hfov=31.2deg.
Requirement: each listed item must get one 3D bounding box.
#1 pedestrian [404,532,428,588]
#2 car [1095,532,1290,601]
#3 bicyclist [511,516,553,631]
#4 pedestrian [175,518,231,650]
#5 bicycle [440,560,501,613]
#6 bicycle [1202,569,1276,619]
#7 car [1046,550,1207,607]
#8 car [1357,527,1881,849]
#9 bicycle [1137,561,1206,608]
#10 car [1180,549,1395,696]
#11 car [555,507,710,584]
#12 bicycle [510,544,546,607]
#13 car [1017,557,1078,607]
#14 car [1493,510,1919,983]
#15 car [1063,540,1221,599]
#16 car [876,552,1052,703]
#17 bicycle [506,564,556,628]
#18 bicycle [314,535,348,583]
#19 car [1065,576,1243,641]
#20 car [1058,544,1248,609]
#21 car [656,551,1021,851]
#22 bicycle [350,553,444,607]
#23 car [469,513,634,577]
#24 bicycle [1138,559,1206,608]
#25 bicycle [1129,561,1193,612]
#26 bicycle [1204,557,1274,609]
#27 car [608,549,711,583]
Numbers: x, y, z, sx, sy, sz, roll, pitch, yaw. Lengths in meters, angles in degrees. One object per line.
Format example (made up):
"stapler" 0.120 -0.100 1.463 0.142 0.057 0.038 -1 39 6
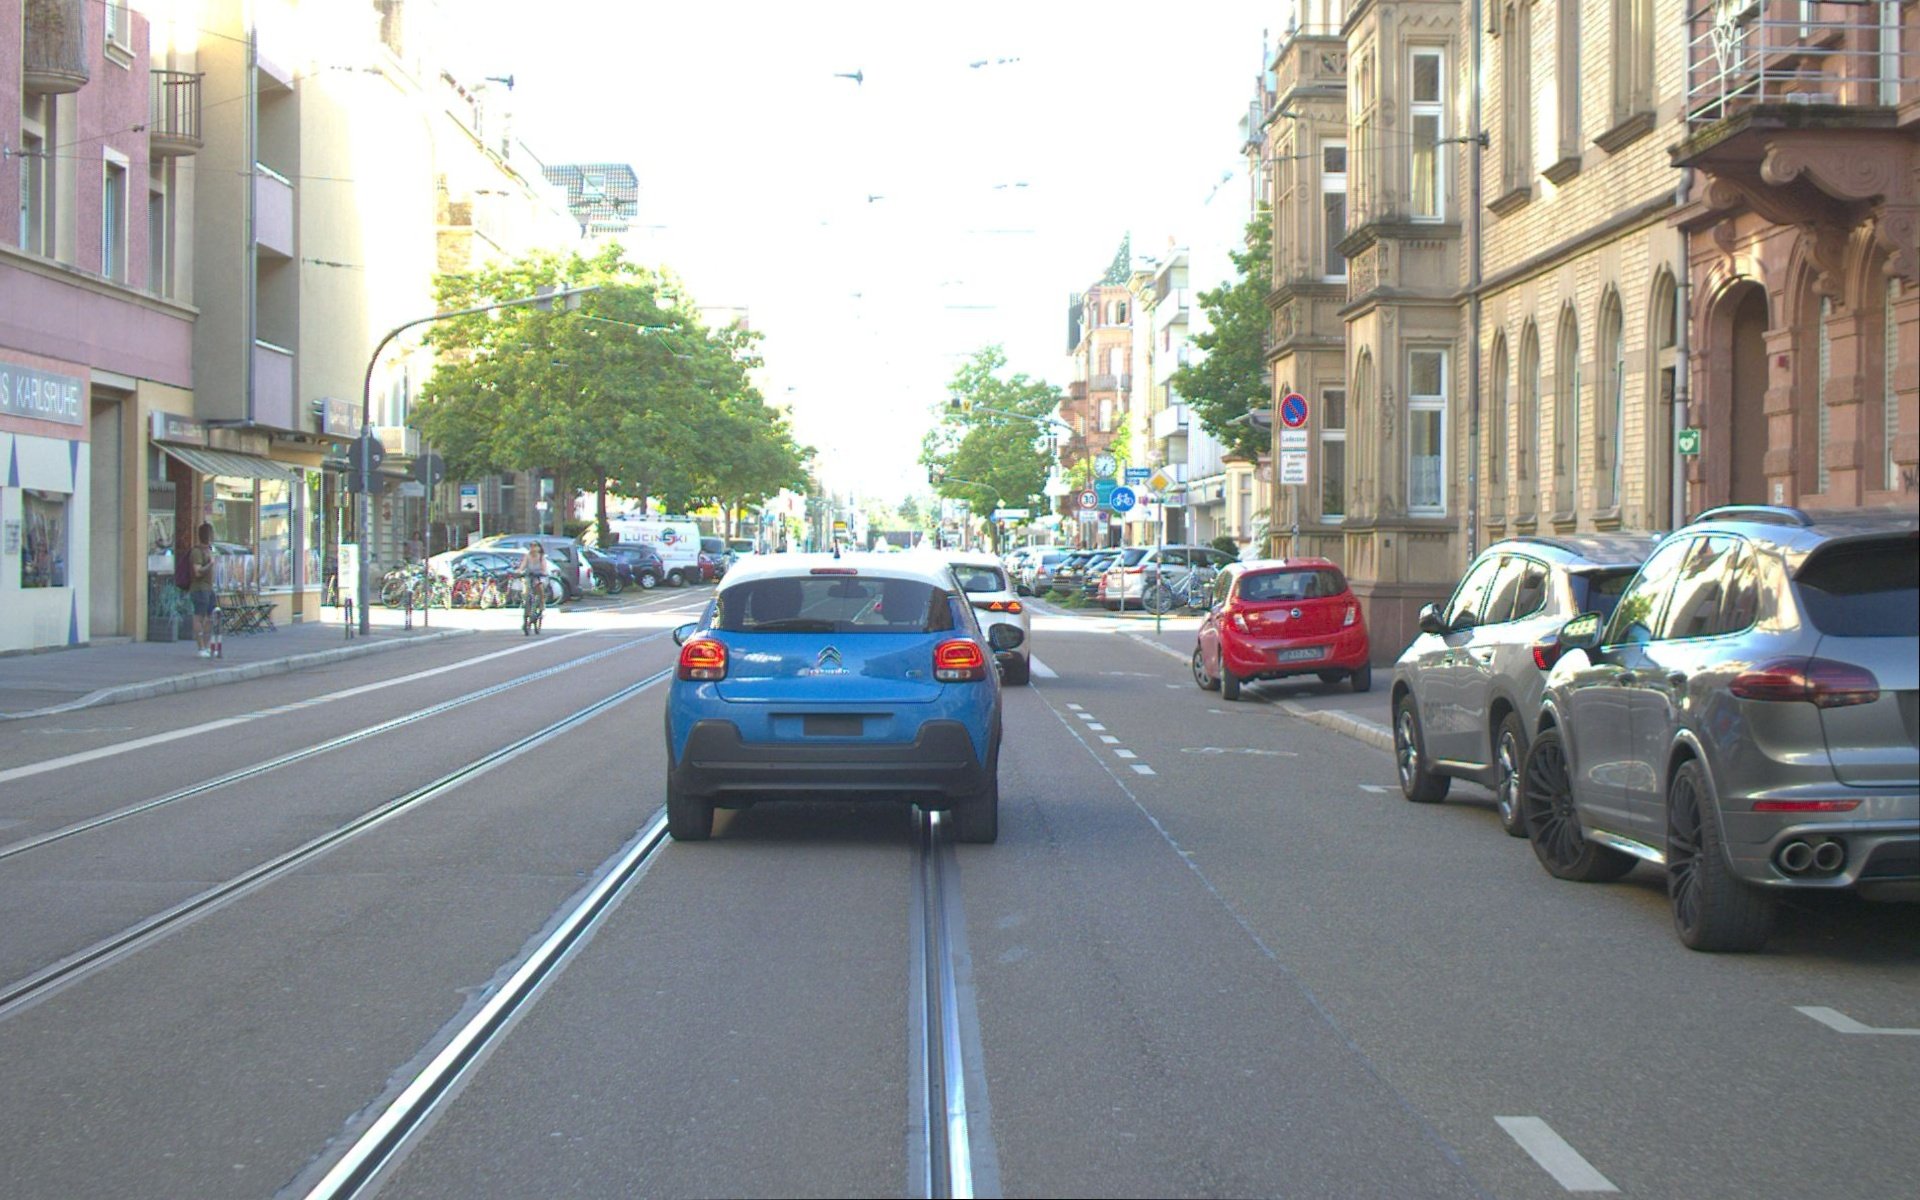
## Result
"pedestrian" -16.172 -1.182 102.160 0.569 1.647 0.641 1 0 0
"car" 5.673 -0.820 83.854 4.350 1.590 1.854 1 0 -25
"bicyclist" -7.561 -0.477 60.736 0.612 2.007 0.734 1 0 0
"pedestrian" -9.762 -0.206 44.344 0.563 1.680 0.616 1 0 -2
"bicycle" -11.284 -0.315 79.221 0.681 1.119 1.888 0 3 -31
"bicycle" 6.431 -0.138 79.247 1.675 1.123 0.551 1 0 6
"car" 4.940 -0.637 102.114 4.302 1.590 1.983 1 0 -25
"car" 3.695 0.439 20.112 1.865 1.641 4.402 1 0 -5
"bicycle" 4.937 -0.360 80.209 1.556 1.075 0.307 1 0 6
"car" 3.598 0.221 38.504 1.865 1.478 4.401 -2 1 -1
"car" -12.088 -2.006 127.096 5.370 2.739 1.806 1 0 -30
"bicycle" -9.898 -0.570 78.879 0.681 1.315 2.436 1 3 -5
"car" 2.899 -0.601 114.463 1.873 1.590 4.719 1 0 0
"car" 3.656 0.458 14.323 1.993 1.610 4.786 -2 1 -1
"car" 5.238 -0.871 99.043 3.986 1.590 2.088 1 0 -25
"car" 0.040 0.283 39.272 1.873 1.590 4.000 1 0 0
"bicycle" -7.556 -0.073 60.592 0.602 1.092 2.044 -2 0 0
"bicycle" -14.469 -0.940 79.069 0.403 1.106 1.838 0 0 -22
"car" 4.839 0.216 85.803 3.986 1.531 1.919 1 0 -25
"car" 5.029 -0.621 89.572 4.433 1.590 2.089 1 0 -25
"car" -0.624 0.482 18.669 1.762 1.436 3.557 1 0 -1
"bicycle" -12.887 -0.463 78.625 2.433 1.105 0.682 4 4 40
"car" -12.006 -1.622 101.181 4.352 1.777 1.996 1 1 -33
"bicycle" 4.965 -0.386 80.552 1.560 1.123 0.294 1 0 6
"bicycle" 4.574 -0.309 78.254 1.397 1.123 0.551 1 0 -2
"bicycle" 6.331 -0.388 78.024 1.556 1.123 0.551 1 0 6
"car" -12.046 -1.366 137.788 3.796 1.261 1.516 1 0 -26
